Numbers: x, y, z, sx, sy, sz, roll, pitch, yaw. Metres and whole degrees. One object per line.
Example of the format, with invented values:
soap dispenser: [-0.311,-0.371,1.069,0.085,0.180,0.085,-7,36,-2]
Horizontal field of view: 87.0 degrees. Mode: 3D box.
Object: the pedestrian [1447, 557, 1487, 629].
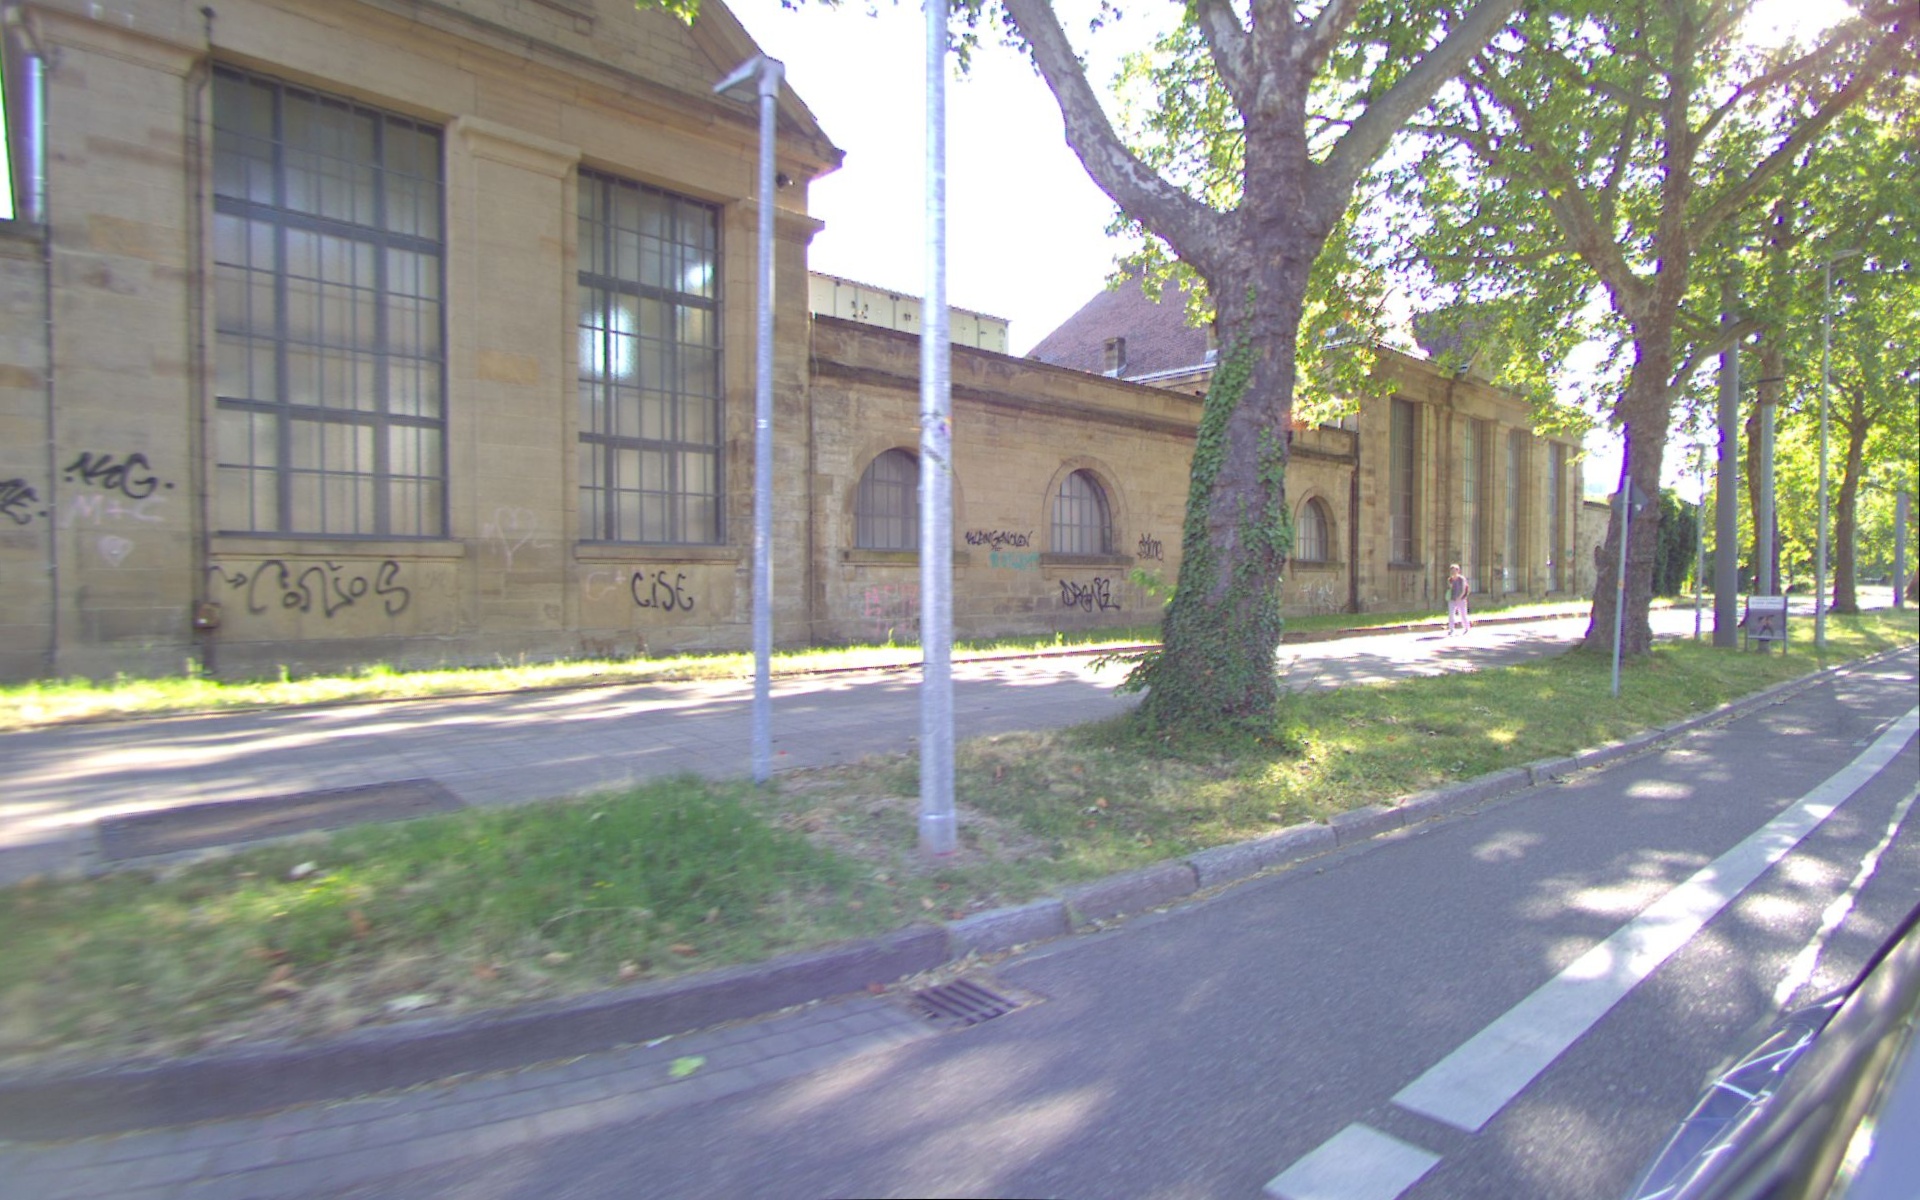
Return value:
pedestrian: [12.439,-0.171,24.828,0.626,1.701,0.609,-1,5,-44]
